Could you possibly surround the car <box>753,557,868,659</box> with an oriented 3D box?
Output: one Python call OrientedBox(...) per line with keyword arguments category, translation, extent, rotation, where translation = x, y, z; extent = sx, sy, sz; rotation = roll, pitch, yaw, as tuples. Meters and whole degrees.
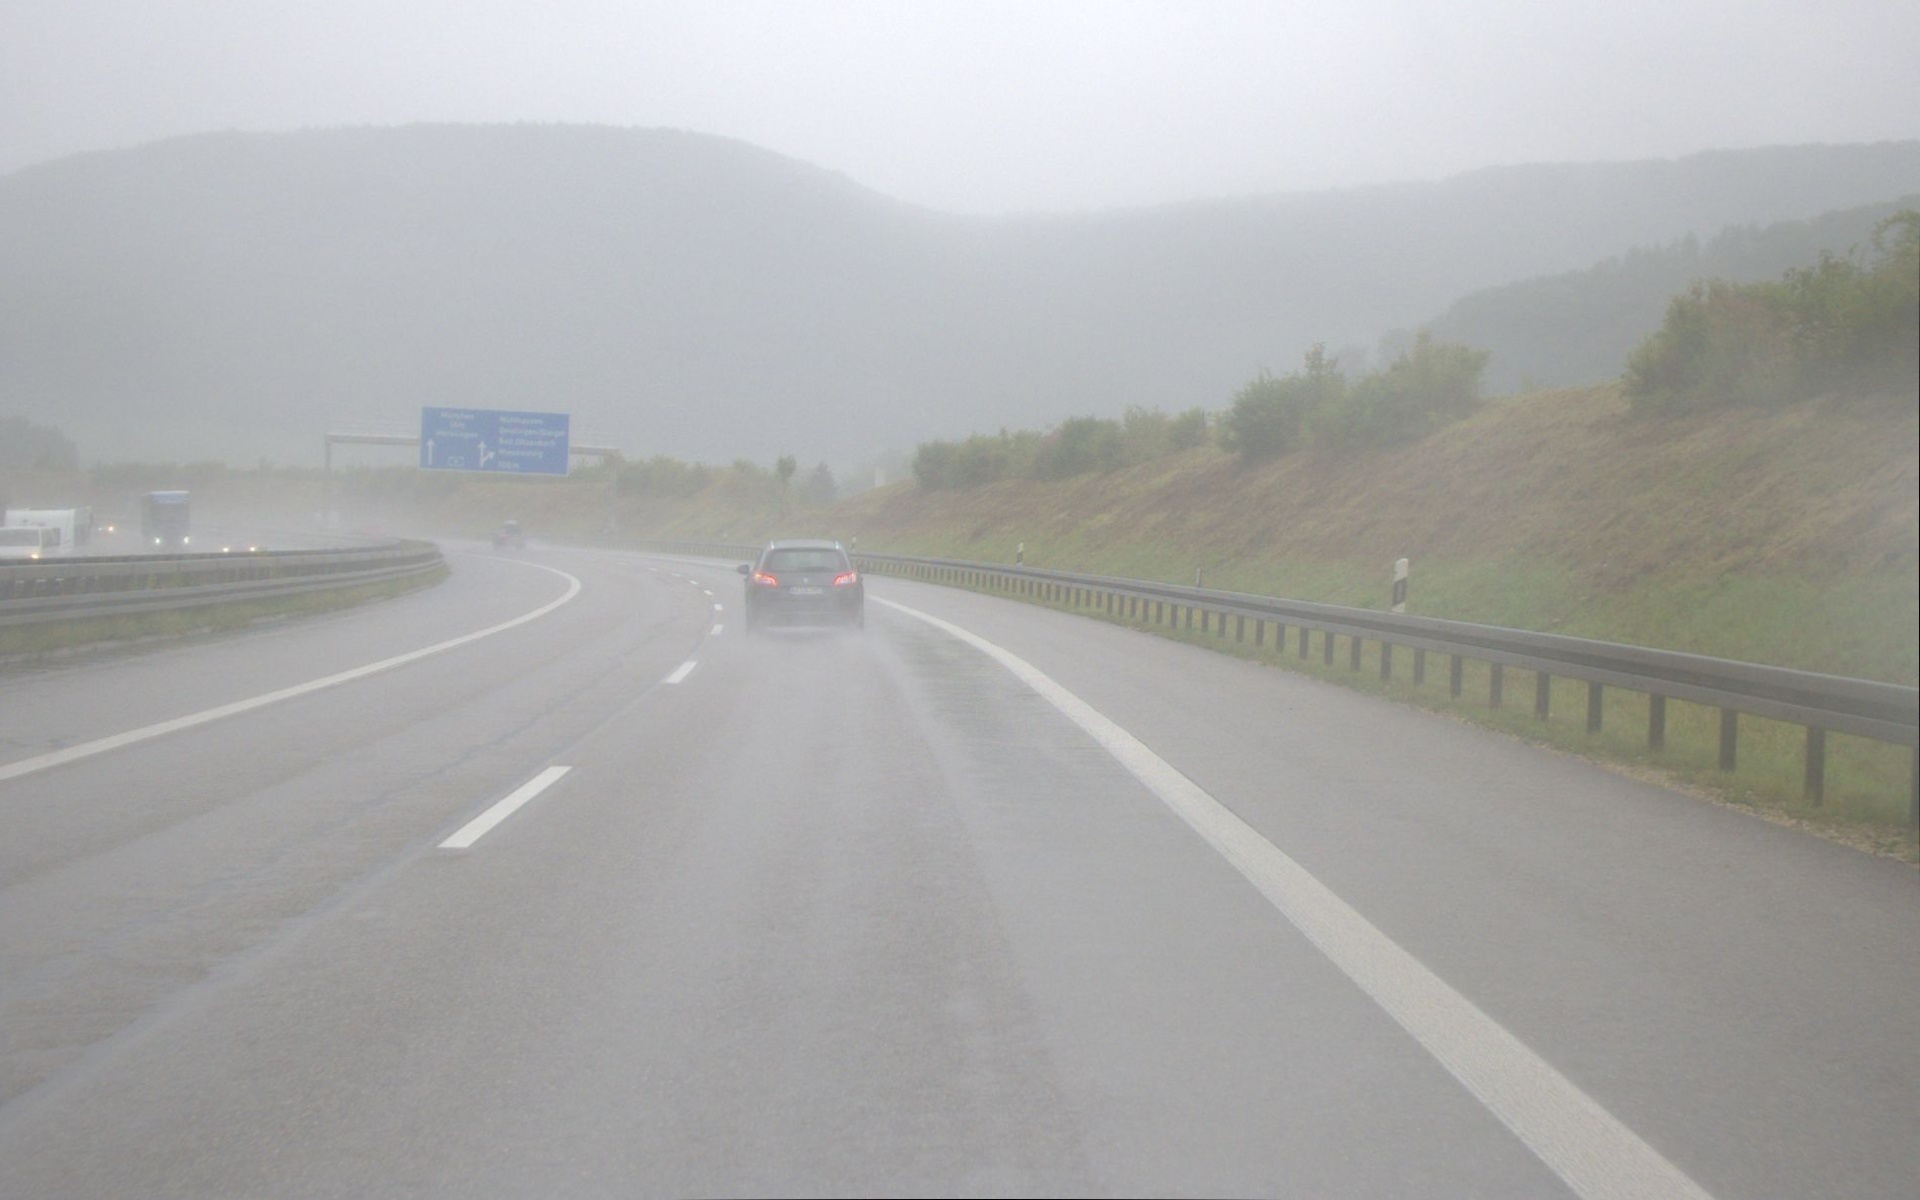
OrientedBox(category="car", translation=(-2.317, 0.097, 52.613), extent=(1.679, 1.467, 3.815), rotation=(1, 1, -3))
